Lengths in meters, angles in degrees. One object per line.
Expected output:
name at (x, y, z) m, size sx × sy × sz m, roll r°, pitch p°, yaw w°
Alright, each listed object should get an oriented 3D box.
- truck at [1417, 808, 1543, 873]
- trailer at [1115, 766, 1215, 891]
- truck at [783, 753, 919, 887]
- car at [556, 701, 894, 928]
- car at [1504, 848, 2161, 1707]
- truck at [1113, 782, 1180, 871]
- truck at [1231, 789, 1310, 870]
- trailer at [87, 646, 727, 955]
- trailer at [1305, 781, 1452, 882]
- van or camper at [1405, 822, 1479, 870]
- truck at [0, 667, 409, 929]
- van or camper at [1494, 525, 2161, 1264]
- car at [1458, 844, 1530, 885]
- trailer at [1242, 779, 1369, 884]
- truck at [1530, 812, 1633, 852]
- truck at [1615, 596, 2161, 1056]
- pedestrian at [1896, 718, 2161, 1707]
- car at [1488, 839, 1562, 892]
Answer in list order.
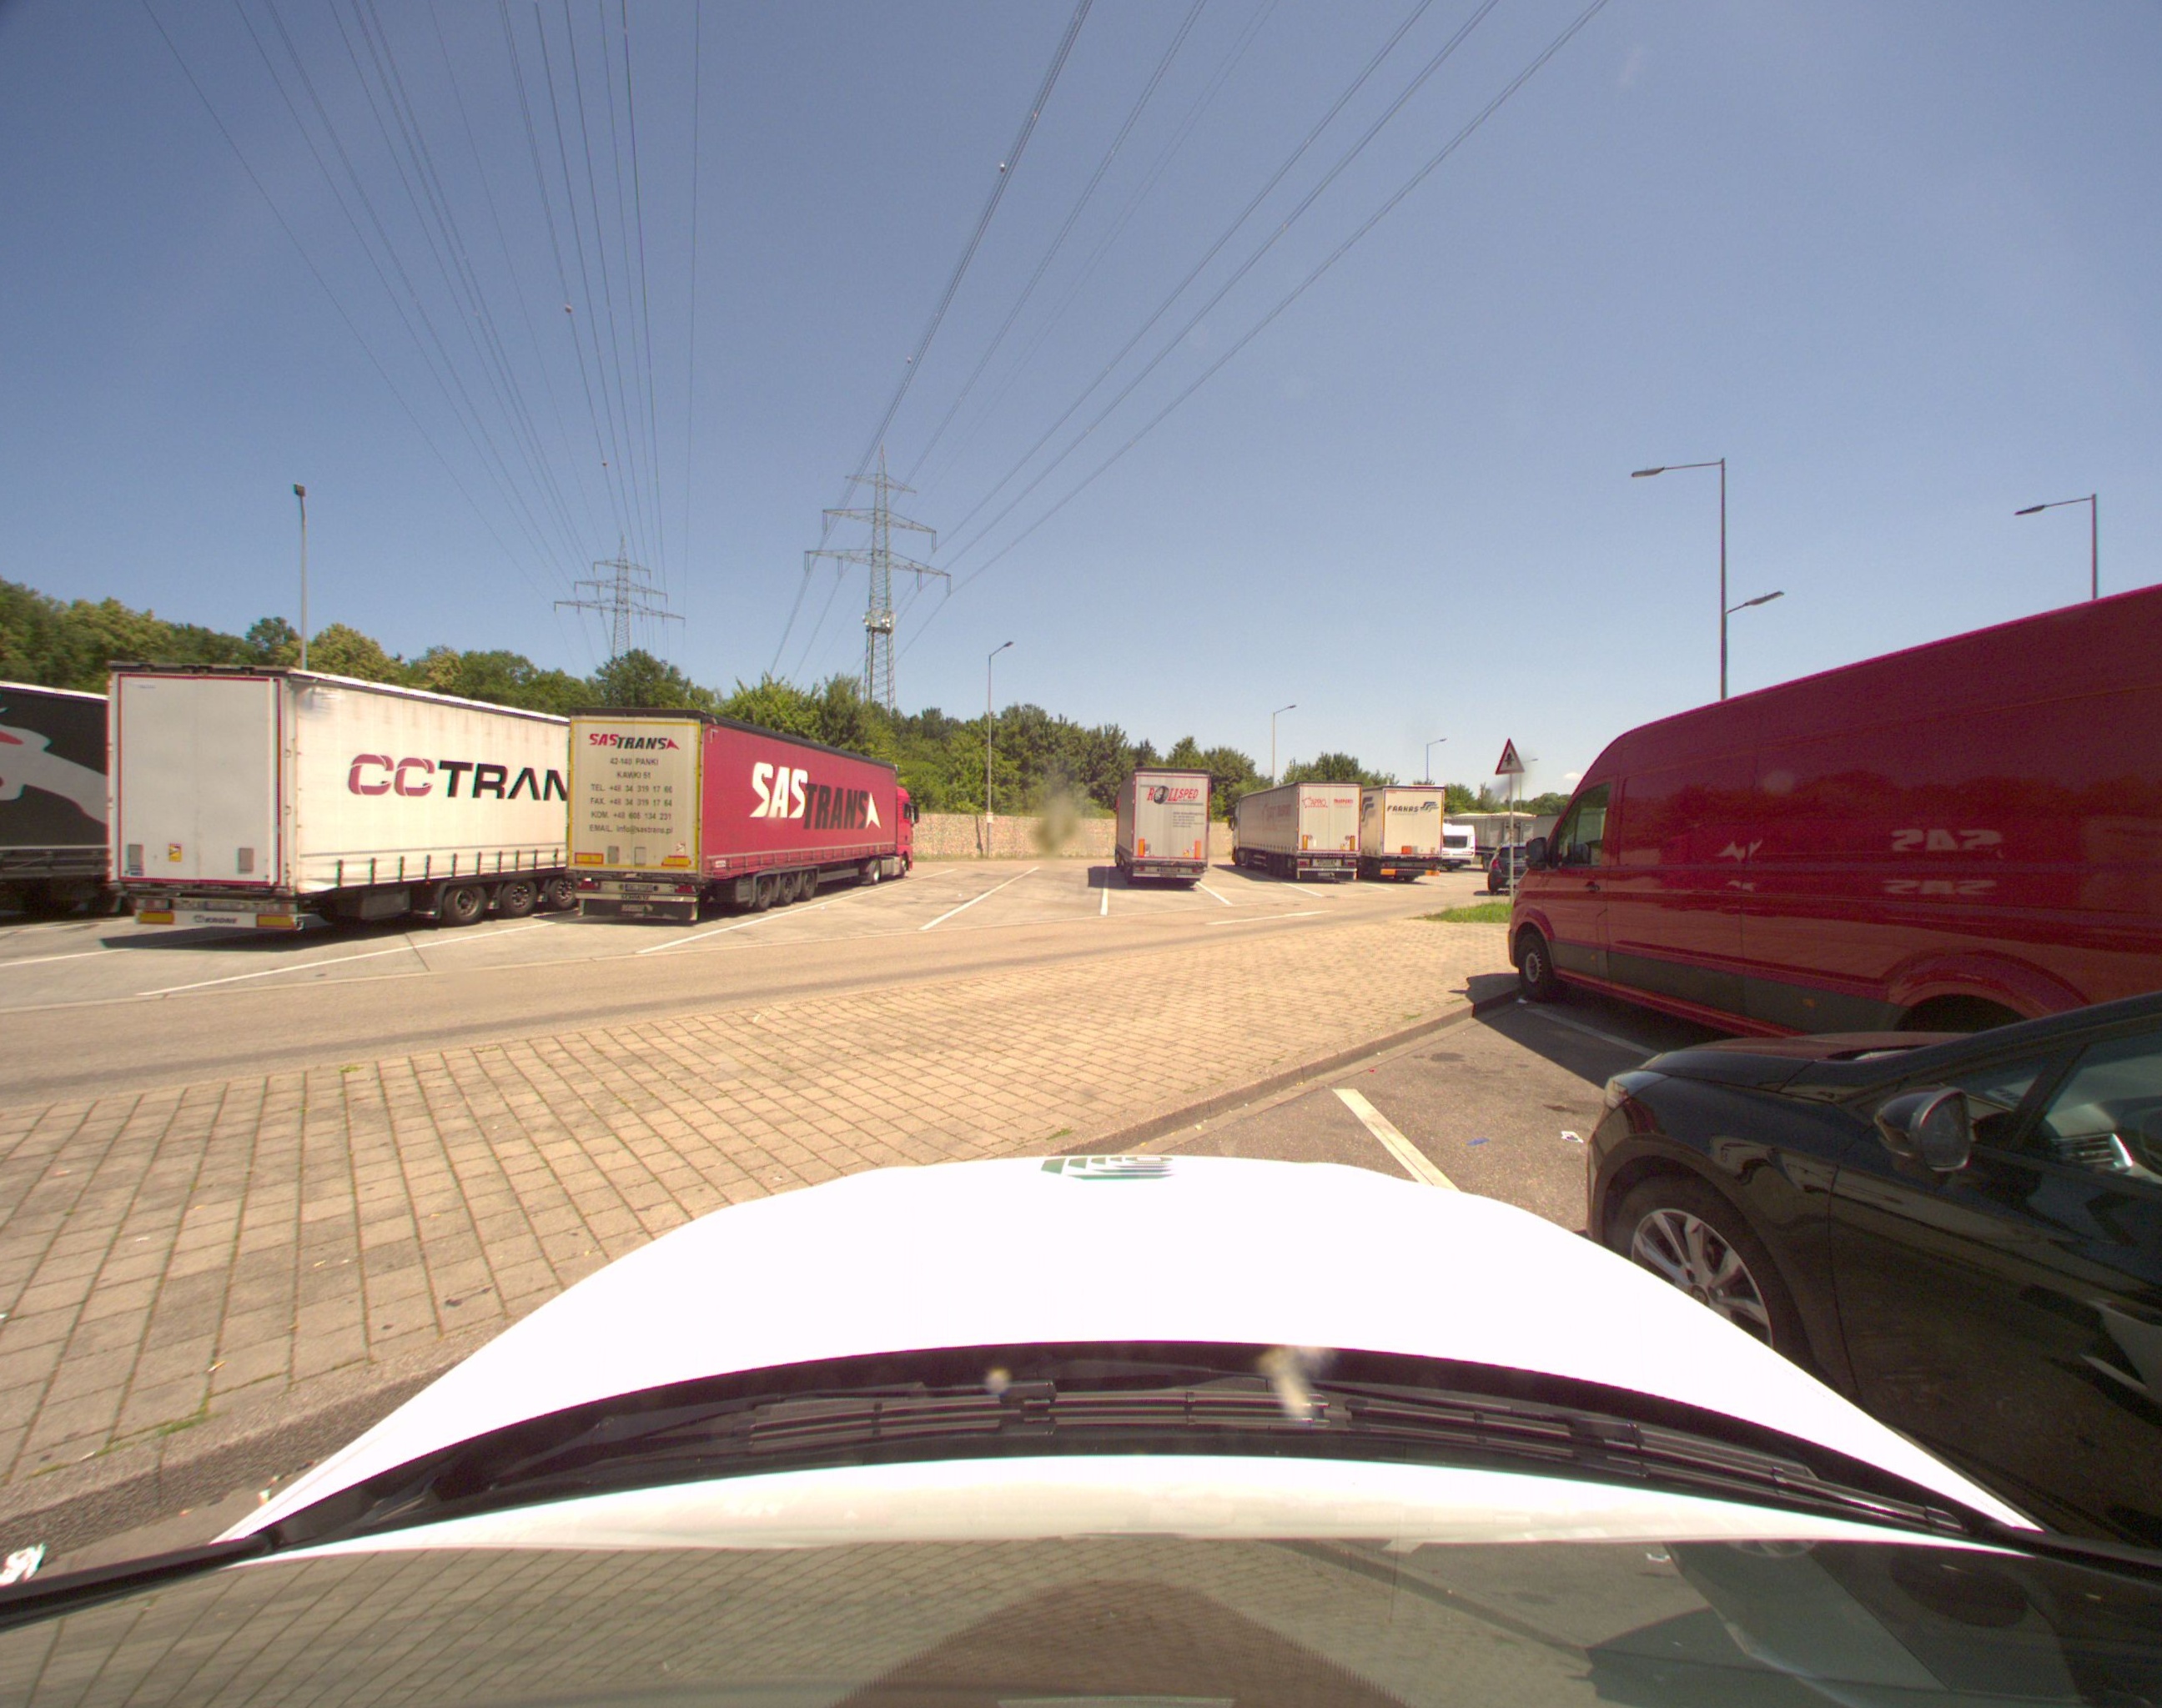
truck at (24.299, -0.954, 50.496) m, size 2.478 × 3.568 × 11.429 m, roll 1°, pitch 2°, yaw 2°
trailer at (3.044, -1.104, 33.726) m, size 2.857 × 4.037 × 14.244 m, roll 0°, pitch 2°, yaw 1°
truck at (-7.751, -1.155, 28.346) m, size 2.686 × 4.112 × 6.243 m, roll 1°, pitch 2°, yaw 2°
car at (-8.051, -0.936, 21.430) m, size 2.686 × 4.112 × 12.943 m, roll 1°, pitch 2°, yaw 2°
car at (2.451, 0.754, 1.137) m, size 1.612 × 1.483 × 3.762 m, roll -1°, pitch 1°, yaw -4°
truck at (3.137, -1.393, 40.814) m, size 2.857 × 4.037 × 7.029 m, roll 0°, pitch 2°, yaw 1°
truck at (10.179, -1.367, 44.530) m, size 2.856 × 4.037 × 6.960 m, roll 0°, pitch 2°, yaw 2°
trailer at (-12.165, -0.978, 17.786) m, size 2.803 × 4.266 × 12.947 m, roll 0°, pitch 2°, yaw 2°
trailer at (13.640, -1.122, 38.873) m, size 2.856 × 4.037 × 12.445 m, roll 1°, pitch 2°, yaw 2°
van or camper at (20.589, -0.464, 46.737) m, size 2.096 × 2.561 × 5.376 m, roll -1°, pitch 1°, yaw 3°
truck at (-18.620, -1.025, 16.267) m, size 2.803 × 4.190 × 8.793 m, roll 0°, pitch 2°, yaw 2°
van or camper at (5.135, 0.100, 5.489) m, size 1.986 × 2.654 × 6.490 m, roll -1°, pitch 1°, yaw 6°
car at (16.857, 0.401, 33.410) m, size 1.581 × 1.545 × 3.650 m, roll -1°, pitch 1°, yaw 9°
trailer at (9.952, -1.103, 37.898) m, size 2.856 × 4.037 × 12.445 m, roll 1°, pitch 2°, yaw 2°
truck at (38.033, -1.640, 62.373) m, size 2.117 × 2.820 × 9.783 m, roll -1°, pitch 1°, yaw 2°
truck at (7.936, -0.211, 7.061) m, size 2.455 × 2.792 × 6.978 m, roll 0°, pitch 1°, yaw 4°
pedestrian at (1.410, 0.656, 0.781) m, size 0.647 × 1.586 × 0.652 m, roll -1°, pitch 1°, yaw -13°
car at (14.171, 0.302, 26.185) m, size 1.825 × 1.561 × 3.972 m, roll 0°, pitch 1°, yaw 25°
